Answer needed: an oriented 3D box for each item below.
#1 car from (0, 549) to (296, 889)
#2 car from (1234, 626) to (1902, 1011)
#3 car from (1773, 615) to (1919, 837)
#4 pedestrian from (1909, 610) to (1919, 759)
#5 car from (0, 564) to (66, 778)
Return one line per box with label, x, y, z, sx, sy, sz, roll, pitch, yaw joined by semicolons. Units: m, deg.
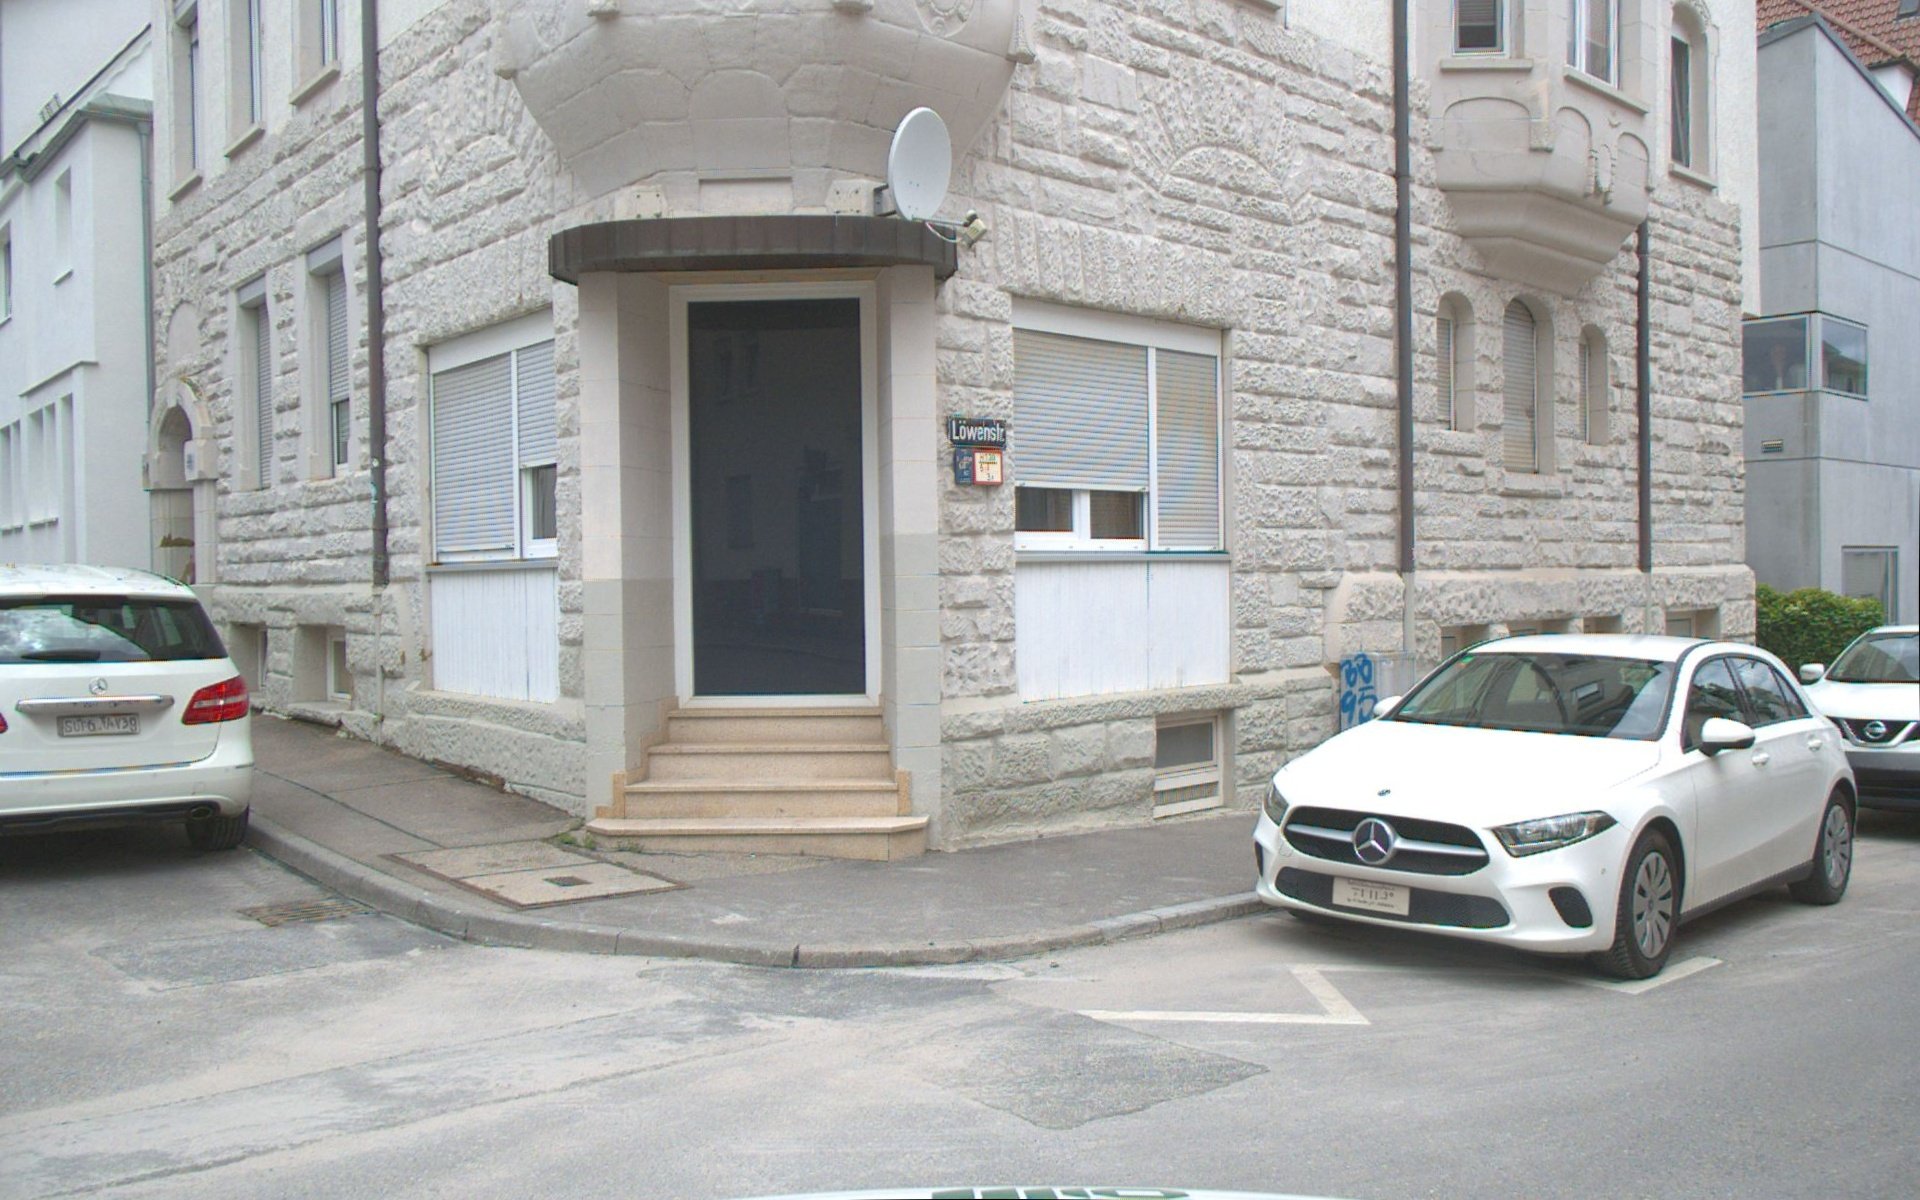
car;-5.518;0.540;9.740;1.809;1.627;3.968;1;0;-41
car;3.285;0.873;8.417;1.675;1.439;4.212;0;-1;44
car;8.133;0.917;13.169;1.819;1.542;4.212;0;-1;44
pedestrian;12.763;1.084;21.097;0.832;1.918;0.814;1;-1;-22
car;-8.663;0.471;13.443;1.658;1.559;3.968;1;1;-40
